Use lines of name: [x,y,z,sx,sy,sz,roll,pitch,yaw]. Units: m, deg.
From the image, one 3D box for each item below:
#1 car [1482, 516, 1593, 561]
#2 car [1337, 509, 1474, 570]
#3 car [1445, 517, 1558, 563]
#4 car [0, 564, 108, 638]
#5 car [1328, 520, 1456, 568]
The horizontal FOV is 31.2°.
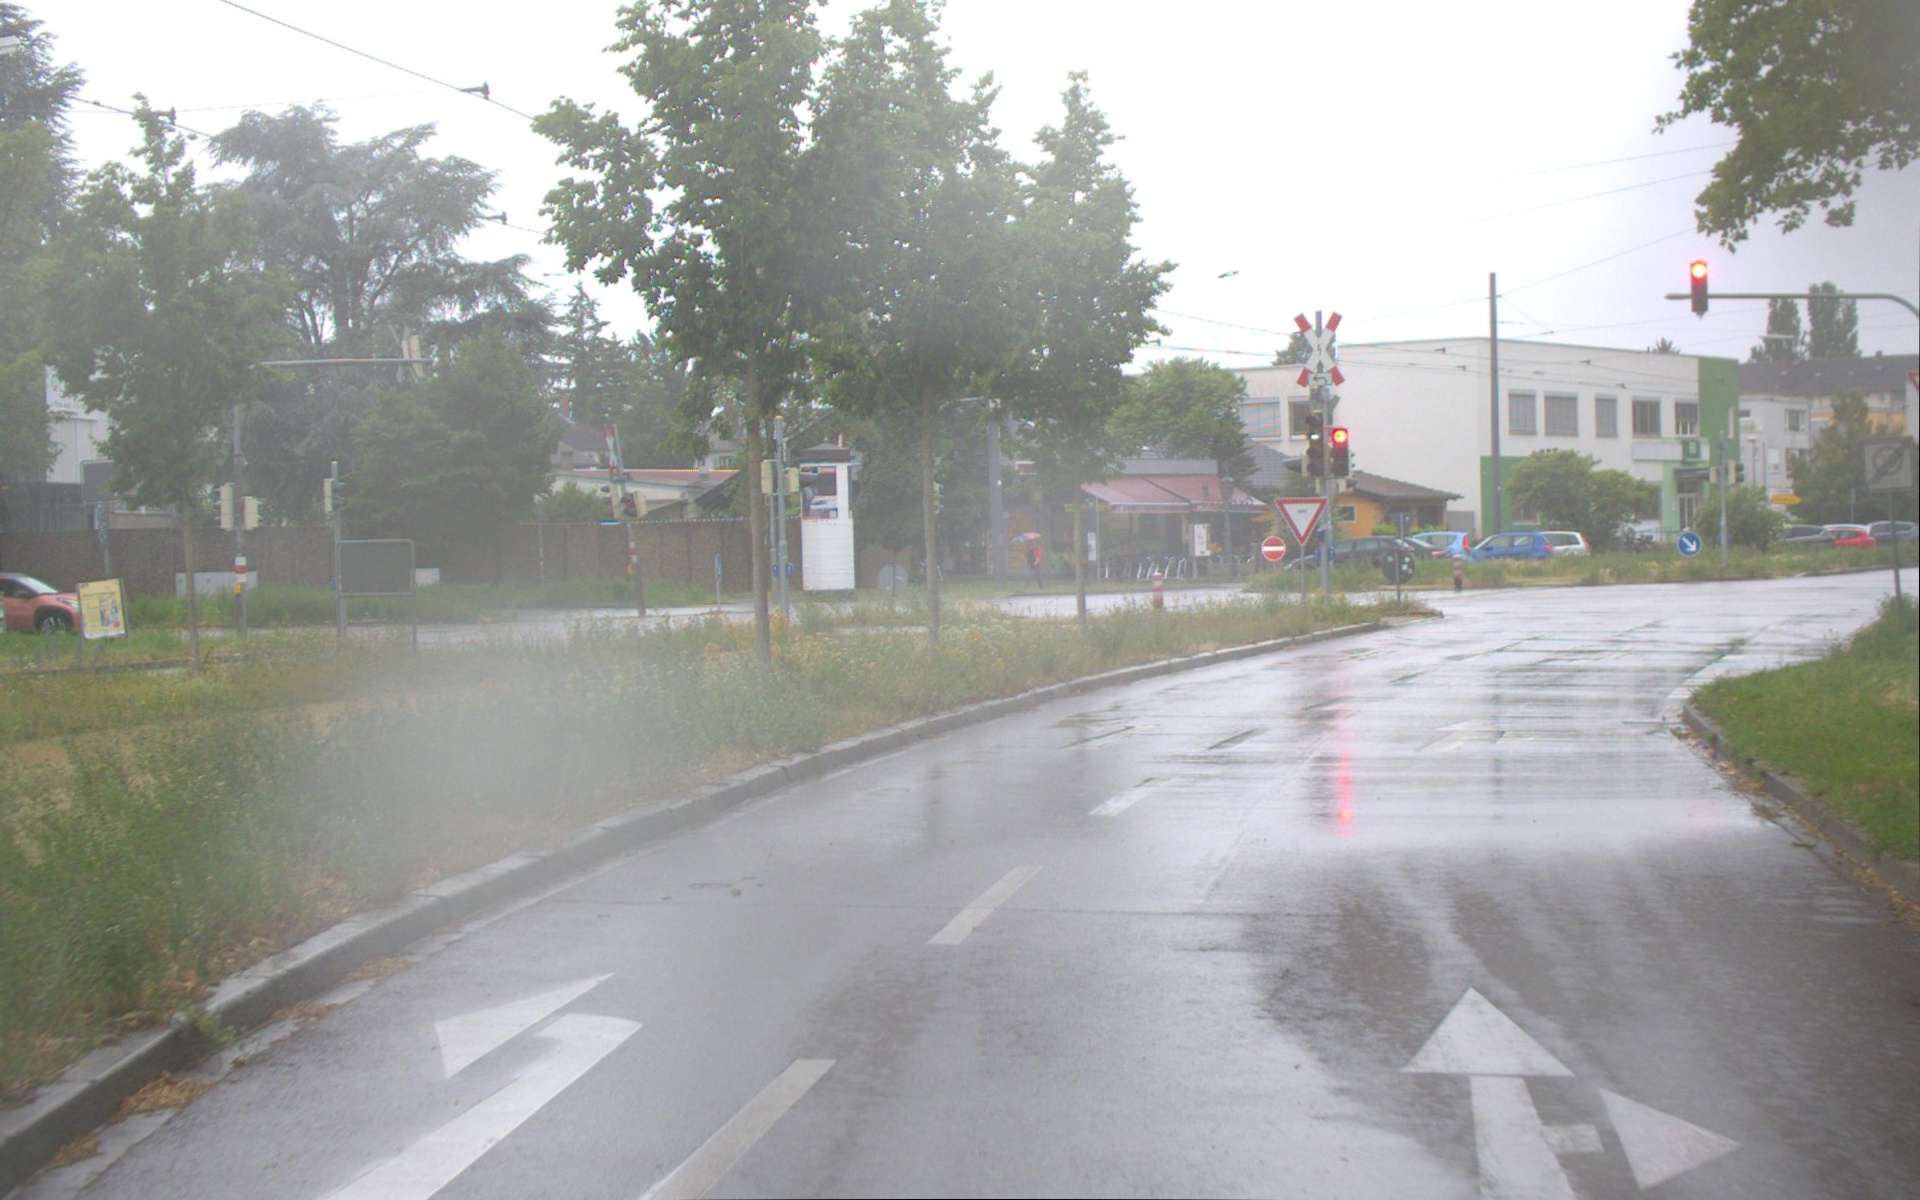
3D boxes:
car: [20.272,-2.156,120.723,3.751,1.437,1.762,-2,1,9]
car: [14.742,-2.007,113.754,4.139,1.853,1.672,-2,1,22]
car: [18.570,-2.061,117.796,3.751,1.437,1.762,-2,1,9]
car: [-20.249,0.047,73.035,3.818,1.494,1.652,-2,0,4]
car: [13.878,-1.800,110.399,3.753,1.437,1.761,-2,1,19]
